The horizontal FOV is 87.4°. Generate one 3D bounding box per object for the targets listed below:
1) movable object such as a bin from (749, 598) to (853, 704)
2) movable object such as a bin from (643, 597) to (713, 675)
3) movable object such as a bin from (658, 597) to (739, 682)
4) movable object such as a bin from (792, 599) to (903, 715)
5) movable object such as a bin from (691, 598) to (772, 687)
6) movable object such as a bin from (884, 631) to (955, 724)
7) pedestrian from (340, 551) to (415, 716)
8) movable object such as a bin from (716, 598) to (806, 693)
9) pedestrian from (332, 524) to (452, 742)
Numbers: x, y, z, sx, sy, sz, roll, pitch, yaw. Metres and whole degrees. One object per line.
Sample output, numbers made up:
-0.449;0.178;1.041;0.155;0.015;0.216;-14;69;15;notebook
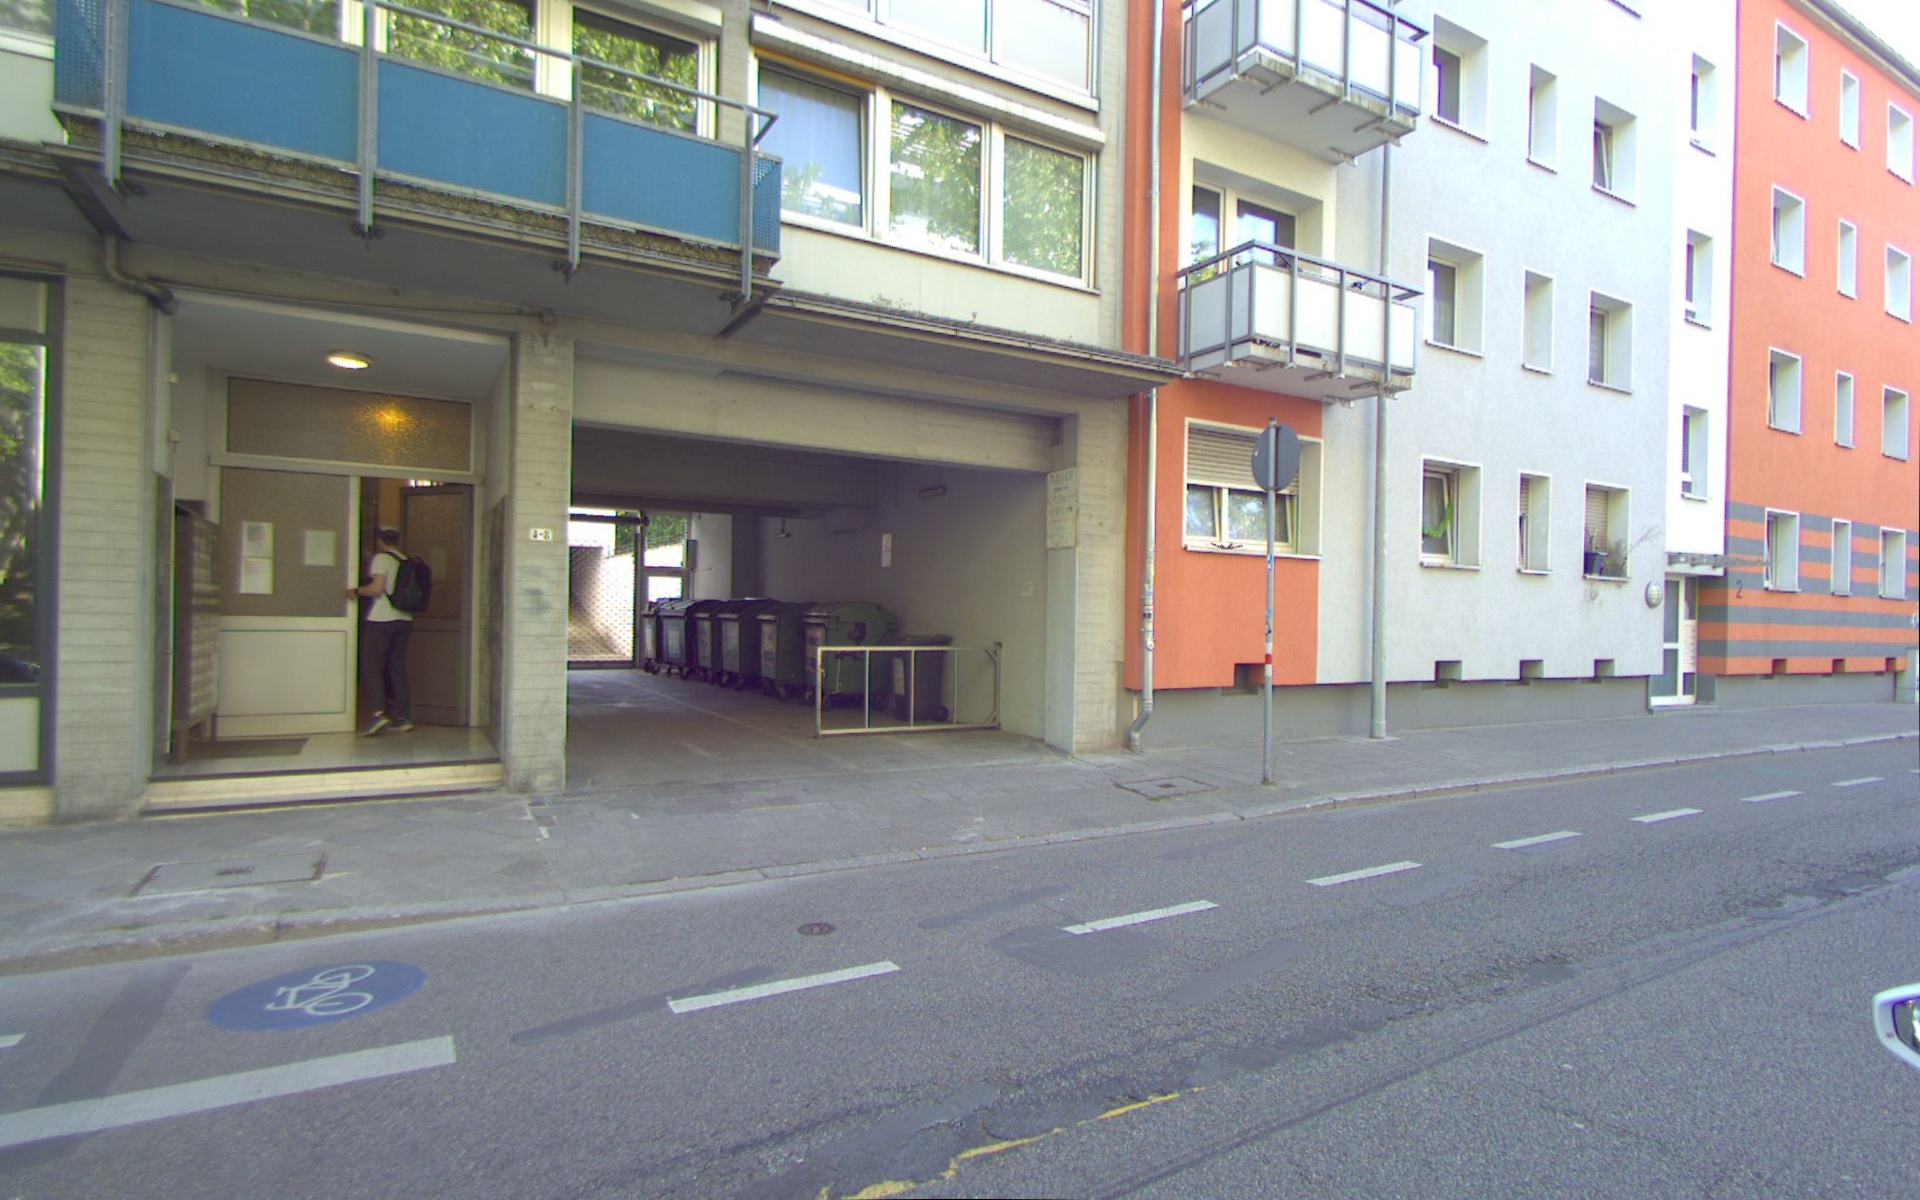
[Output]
-2.413;0.735;15.148;1.167;1.503;1.252;1;0;-30;movable object such as a bin
-5.589;0.703;19.904;1.167;1.503;0.819;1;0;-30;movable object such as a bin
-4.870;0.714;18.699;1.167;1.503;1.215;1;0;-30;movable object such as a bin
-1.557;0.744;13.772;1.086;1.503;1.251;1;0;-30;movable object such as a bin
-4.017;0.726;17.615;1.080;1.503;1.159;1;0;-30;movable object such as a bin
-0.507;0.945;12.454;0.687;1.094;0.579;1;0;-30;movable object such as a bin
-6.351;0.364;10.975;0.653;1.736;0.544;1;0;-28;pedestrian
-3.301;0.728;16.640;1.167;1.503;1.073;1;0;-30;movable object such as a bin
-5.024;0.274;8.880;0.870;1.824;0.595;1;1;-33;pedestrian
